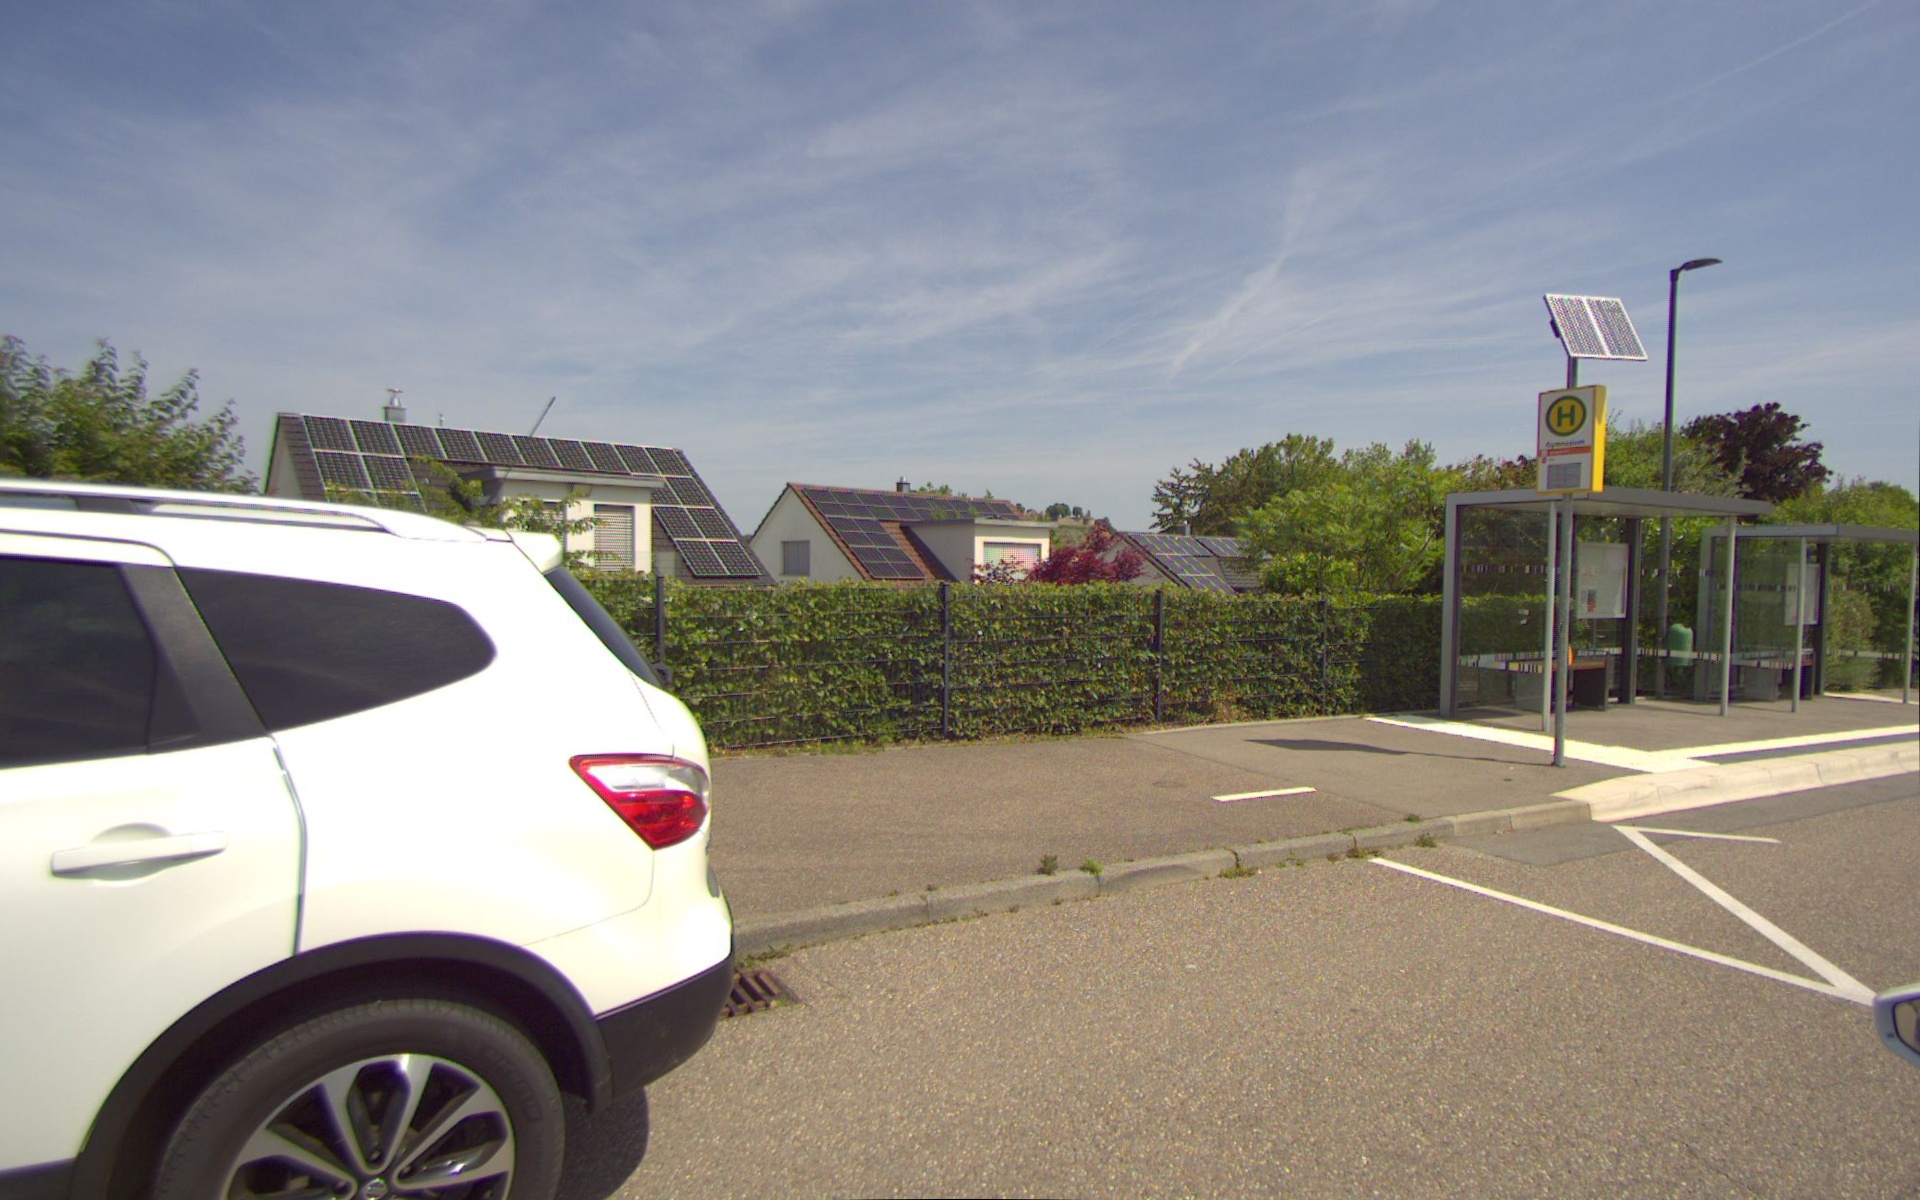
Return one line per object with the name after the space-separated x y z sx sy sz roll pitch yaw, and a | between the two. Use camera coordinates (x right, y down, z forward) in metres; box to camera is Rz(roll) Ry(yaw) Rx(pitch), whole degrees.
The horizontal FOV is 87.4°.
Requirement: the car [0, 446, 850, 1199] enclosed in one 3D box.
-2.539 0.566 1.940 4.303 1.655 1.725 1 0 -31 | car
